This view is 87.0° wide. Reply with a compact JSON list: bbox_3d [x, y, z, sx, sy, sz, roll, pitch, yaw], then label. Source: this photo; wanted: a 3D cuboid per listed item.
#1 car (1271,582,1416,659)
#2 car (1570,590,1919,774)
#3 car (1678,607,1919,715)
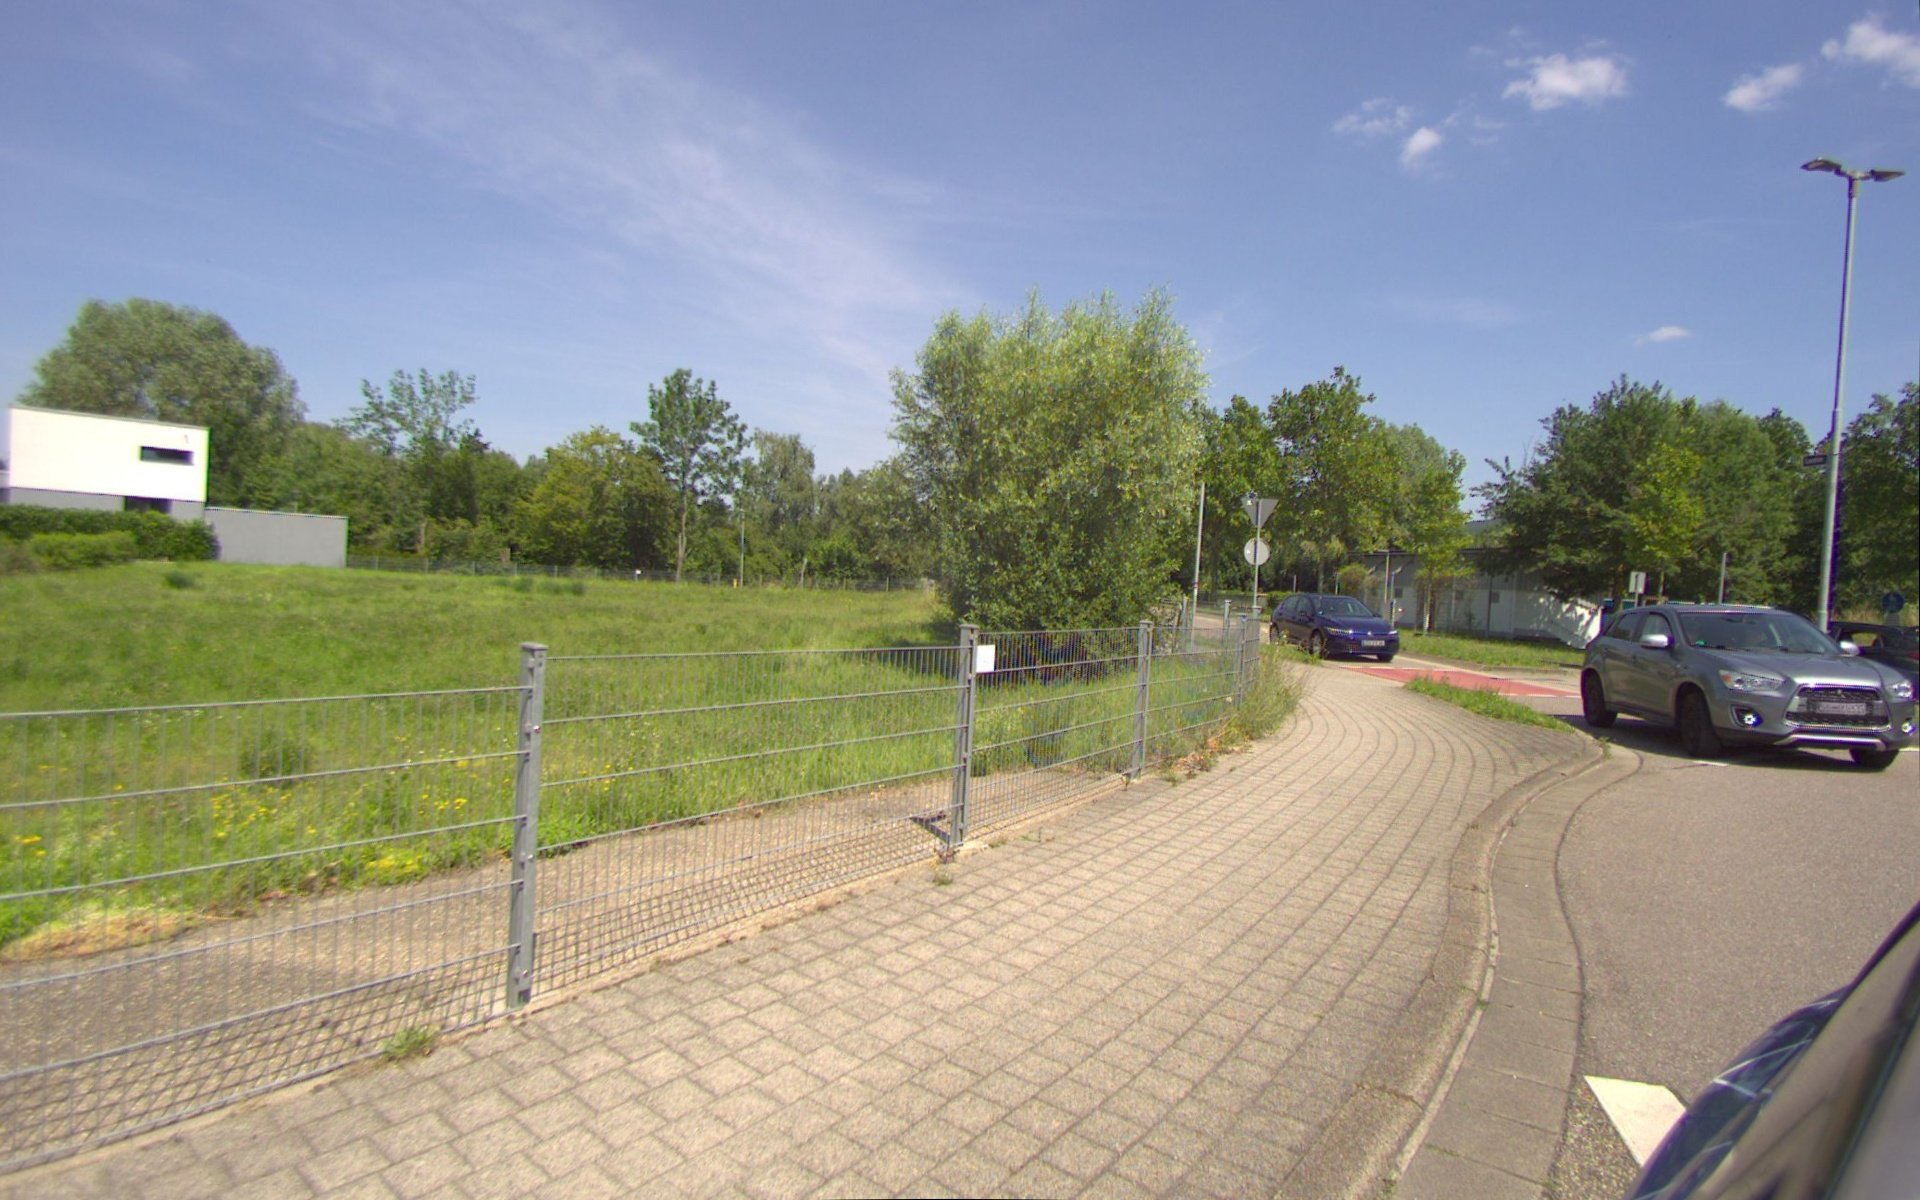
[{"bbox_3d":[8.931,0.405,23.975,1.761,1.558,4.132,3,1,0],"label":"car"},{"bbox_3d":[8.786,0.736,11.609,1.726,1.552,4.506,3,2,14],"label":"car"},{"bbox_3d":[15.927,1.071,18.242,1.827,1.588,4.497,3,1,-23],"label":"car"}]
